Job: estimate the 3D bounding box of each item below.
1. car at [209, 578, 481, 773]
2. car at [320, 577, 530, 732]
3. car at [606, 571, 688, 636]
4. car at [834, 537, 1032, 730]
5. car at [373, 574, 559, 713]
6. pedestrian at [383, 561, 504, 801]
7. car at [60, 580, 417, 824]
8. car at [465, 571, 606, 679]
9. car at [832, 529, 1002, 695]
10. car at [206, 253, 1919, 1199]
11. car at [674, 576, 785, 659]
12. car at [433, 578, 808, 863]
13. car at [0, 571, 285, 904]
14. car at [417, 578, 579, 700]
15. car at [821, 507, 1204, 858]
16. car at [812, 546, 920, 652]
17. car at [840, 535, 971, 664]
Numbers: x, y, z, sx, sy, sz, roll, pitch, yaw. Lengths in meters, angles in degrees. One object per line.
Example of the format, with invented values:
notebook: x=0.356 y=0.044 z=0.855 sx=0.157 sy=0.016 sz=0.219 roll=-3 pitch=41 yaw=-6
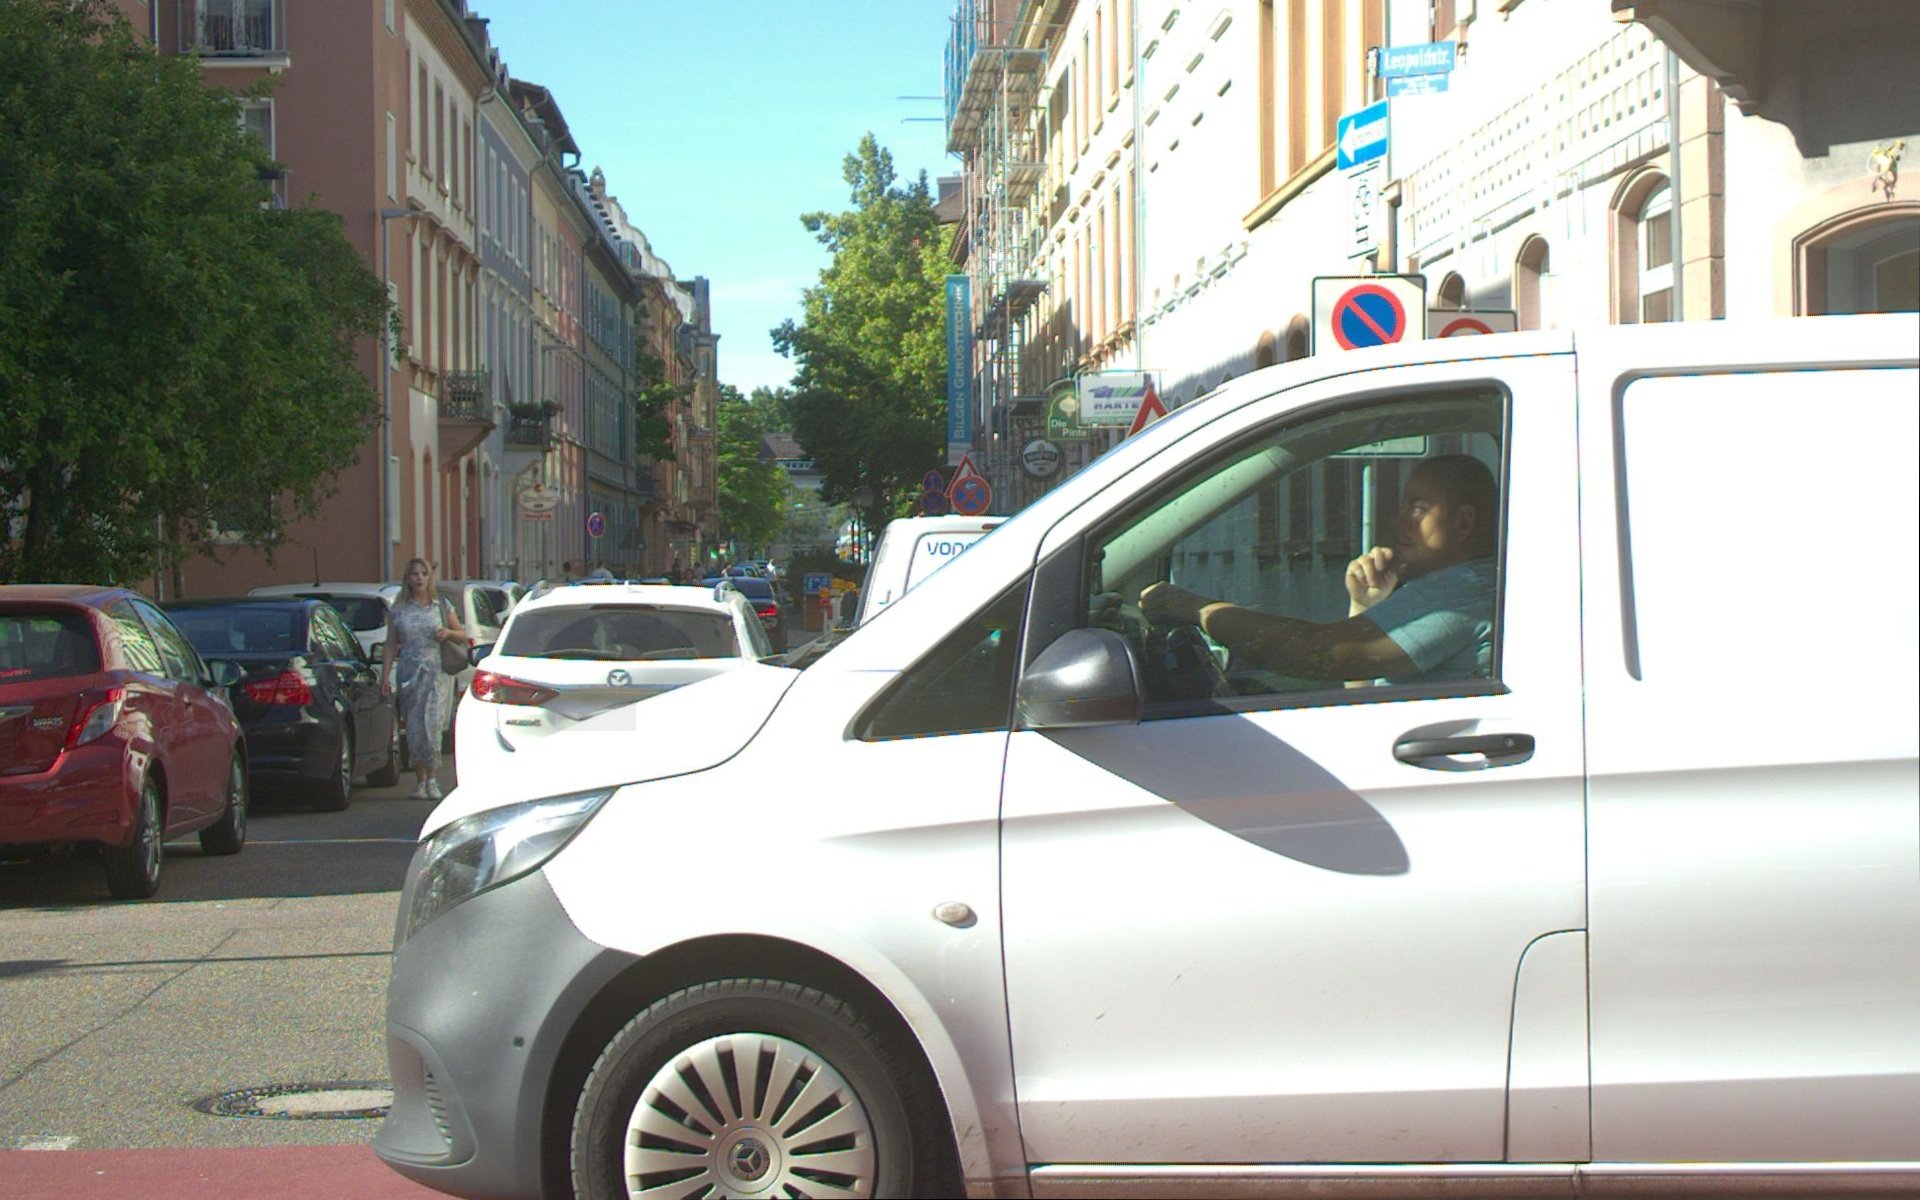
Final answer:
car: x=-5.041 y=0.574 z=28.609 sx=1.653 sy=1.495 sz=3.763 roll=0 pitch=1 yaw=-1
car: x=-5.456 y=0.519 z=35.436 sx=1.653 sy=1.495 sz=3.763 roll=0 pitch=1 yaw=-1
car: x=-7.349 y=0.060 z=80.954 sx=1.653 sy=1.495 sz=3.763 roll=0 pitch=1 yaw=-1
car: x=-0.296 y=0.299 z=34.990 sx=1.894 sy=1.853 sz=3.995 roll=0 pitch=1 yaw=-1
car: x=-5.596 y=0.459 z=39.277 sx=1.653 sy=1.495 sz=3.763 roll=0 pitch=1 yaw=-1
pedestrian: x=-3.562 y=0.542 z=23.669 sx=0.733 sy=1.608 sz=0.816 roll=-1 pitch=0 yaw=-13
car: x=-4.813 y=0.625 z=23.452 sx=1.653 sy=1.495 sz=4.080 roll=0 pitch=1 yaw=-1
car: x=-6.120 y=0.327 z=49.850 sx=1.653 sy=1.495 sz=3.763 roll=0 pitch=1 yaw=-1
car: x=-0.521 y=0.116 z=40.442 sx=1.894 sy=1.853 sz=3.995 roll=0 pitch=1 yaw=-1
car: x=1.449 y=0.349 z=6.944 sx=5.408 sy=1.901 sz=2.107 roll=0 pitch=1 yaw=9
car: x=-4.057 y=0.284 z=61.085 sx=1.760 sy=1.405 sz=4.328 roll=0 pitch=1 yaw=-1
car: x=-1.835 y=0.608 z=19.691 sx=1.831 sy=1.452 sz=3.962 roll=0 pitch=0 yaw=-1
car: x=-4.652 y=0.627 z=17.568 sx=1.684 sy=1.495 sz=3.807 roll=-2 pitch=1 yaw=-1
car: x=-5.906 y=0.469 z=44.310 sx=1.653 sy=1.495 sz=3.763 roll=0 pitch=1 yaw=-1
car: x=0.186 y=0.423 z=21.199 sx=1.894 sy=1.853 sz=5.015 roll=2 pitch=0 yaw=-4
car: x=-1.688 y=-0.039 z=62.391 sx=1.894 sy=1.853 sz=3.995 roll=0 pitch=1 yaw=-1
car: x=-0.835 y=-0.024 z=52.430 sx=1.894 sy=1.853 sz=3.995 roll=-1 pitch=1 yaw=-1
